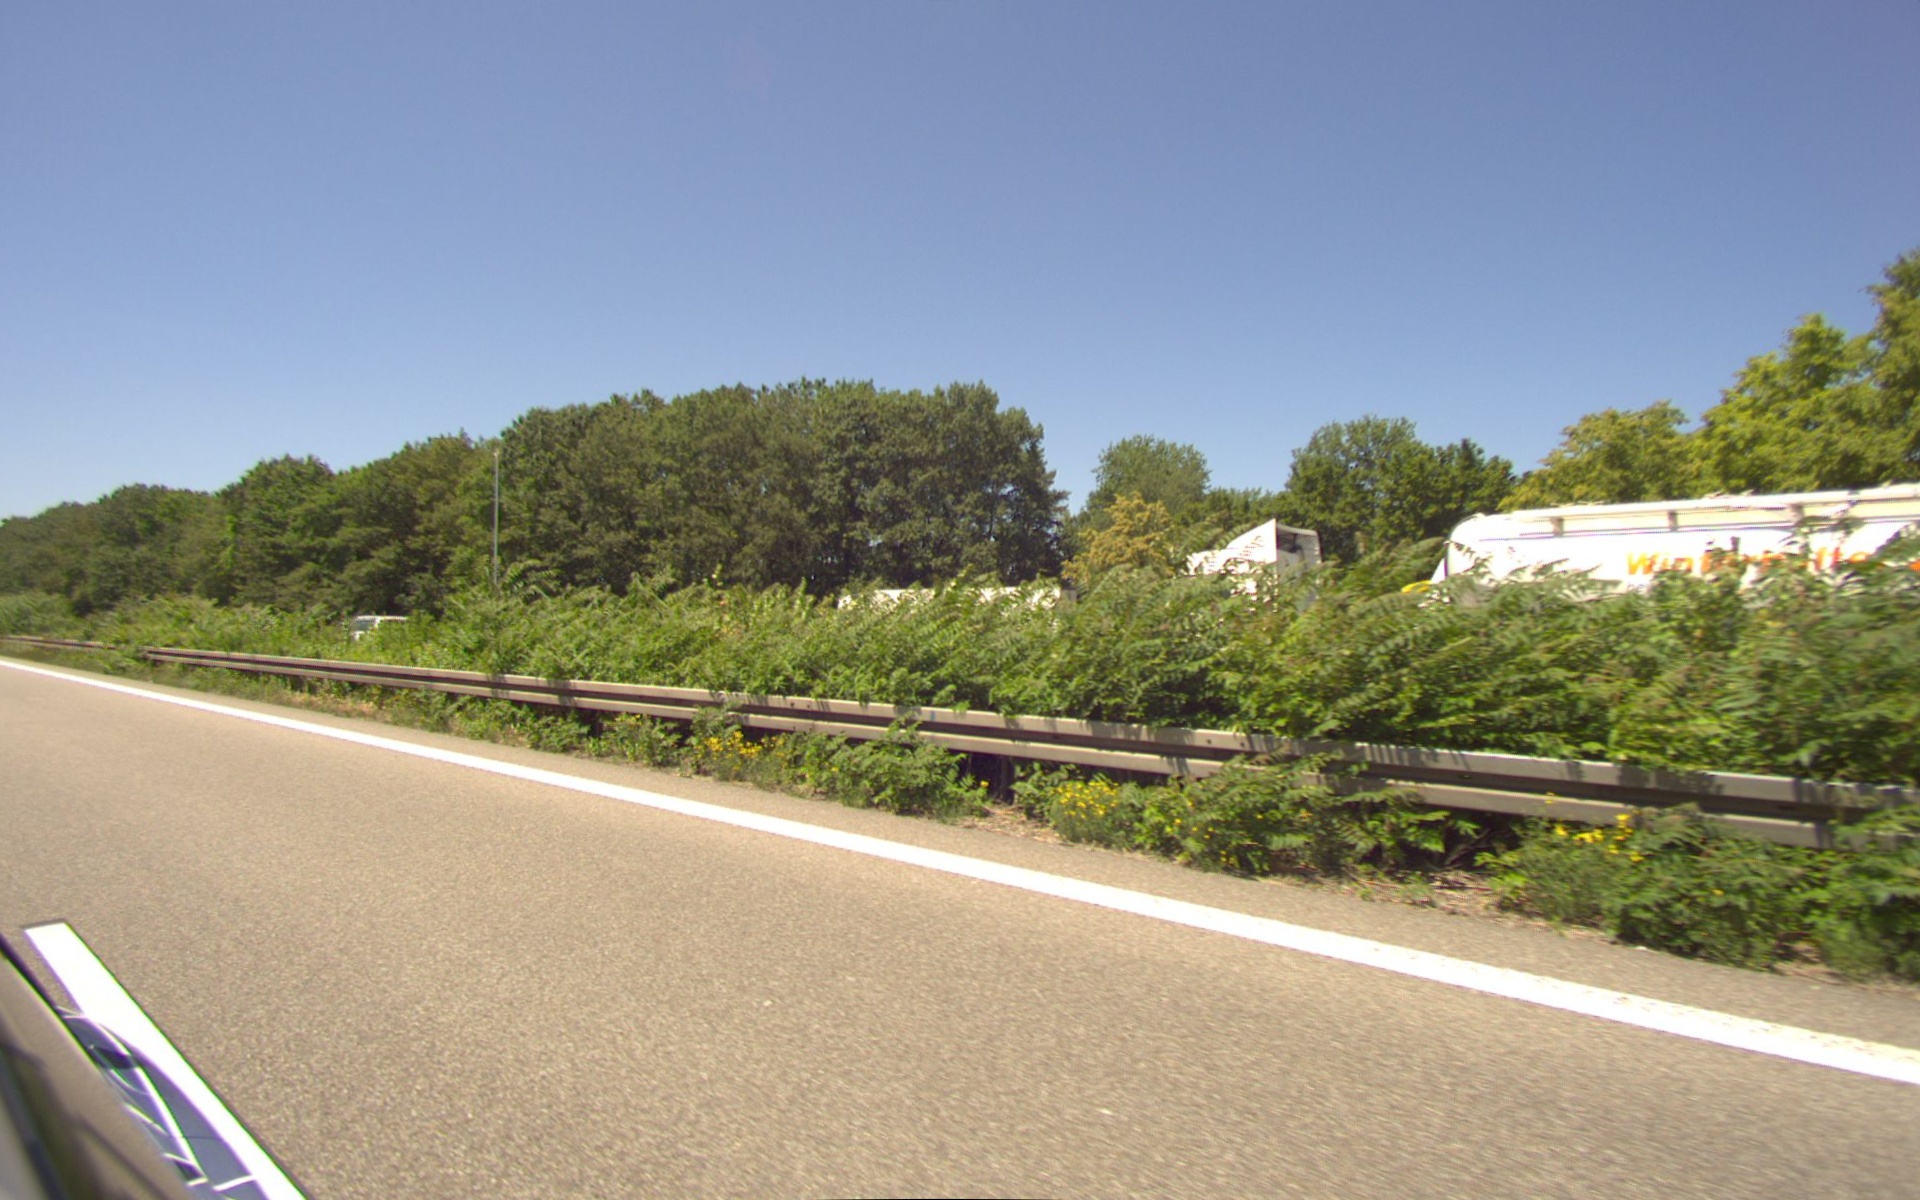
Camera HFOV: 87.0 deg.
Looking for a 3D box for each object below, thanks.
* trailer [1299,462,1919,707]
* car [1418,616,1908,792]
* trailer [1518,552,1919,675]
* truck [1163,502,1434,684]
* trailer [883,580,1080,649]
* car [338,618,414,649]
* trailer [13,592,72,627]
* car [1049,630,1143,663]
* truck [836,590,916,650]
[{"bbox_3d":[10.893,-0.158,15.627,10.643,3.114,2.347,-1,-1,41],"label":"trailer"},{"bbox_3d":[6.719,0.869,9.951,3.697,1.369,1.708,-1,-1,41],"label":"car"},{"bbox_3d":[27.536,0.531,36.856,12.459,3.984,2.431,-1,-2,35],"label":"trailer"},{"bbox_3d":[6.457,-0.091,19.551,4.395,3.102,2.322,-1,-1,41],"label":"truck"},{"bbox_3d":[1.133,0.954,62.731,12.553,4.001,2.592,-1,-2,30],"label":"trailer"},{"bbox_3d":[-28.362,1.614,49.138,4.267,1.476,1.823,-1,-2,40],"label":"car"},{"bbox_3d":[-100.427,1.061,110.656,13.421,3.597,2.934,-1,-1,40],"label":"trailer"},{"bbox_3d":[6.874,2.305,51.202,4.396,1.592,1.986,0,-2,21],"label":"car"},{"bbox_3d":[-5.520,1.321,66.568,4.672,3.797,2.592,-1,-2,30],"label":"truck"}]
